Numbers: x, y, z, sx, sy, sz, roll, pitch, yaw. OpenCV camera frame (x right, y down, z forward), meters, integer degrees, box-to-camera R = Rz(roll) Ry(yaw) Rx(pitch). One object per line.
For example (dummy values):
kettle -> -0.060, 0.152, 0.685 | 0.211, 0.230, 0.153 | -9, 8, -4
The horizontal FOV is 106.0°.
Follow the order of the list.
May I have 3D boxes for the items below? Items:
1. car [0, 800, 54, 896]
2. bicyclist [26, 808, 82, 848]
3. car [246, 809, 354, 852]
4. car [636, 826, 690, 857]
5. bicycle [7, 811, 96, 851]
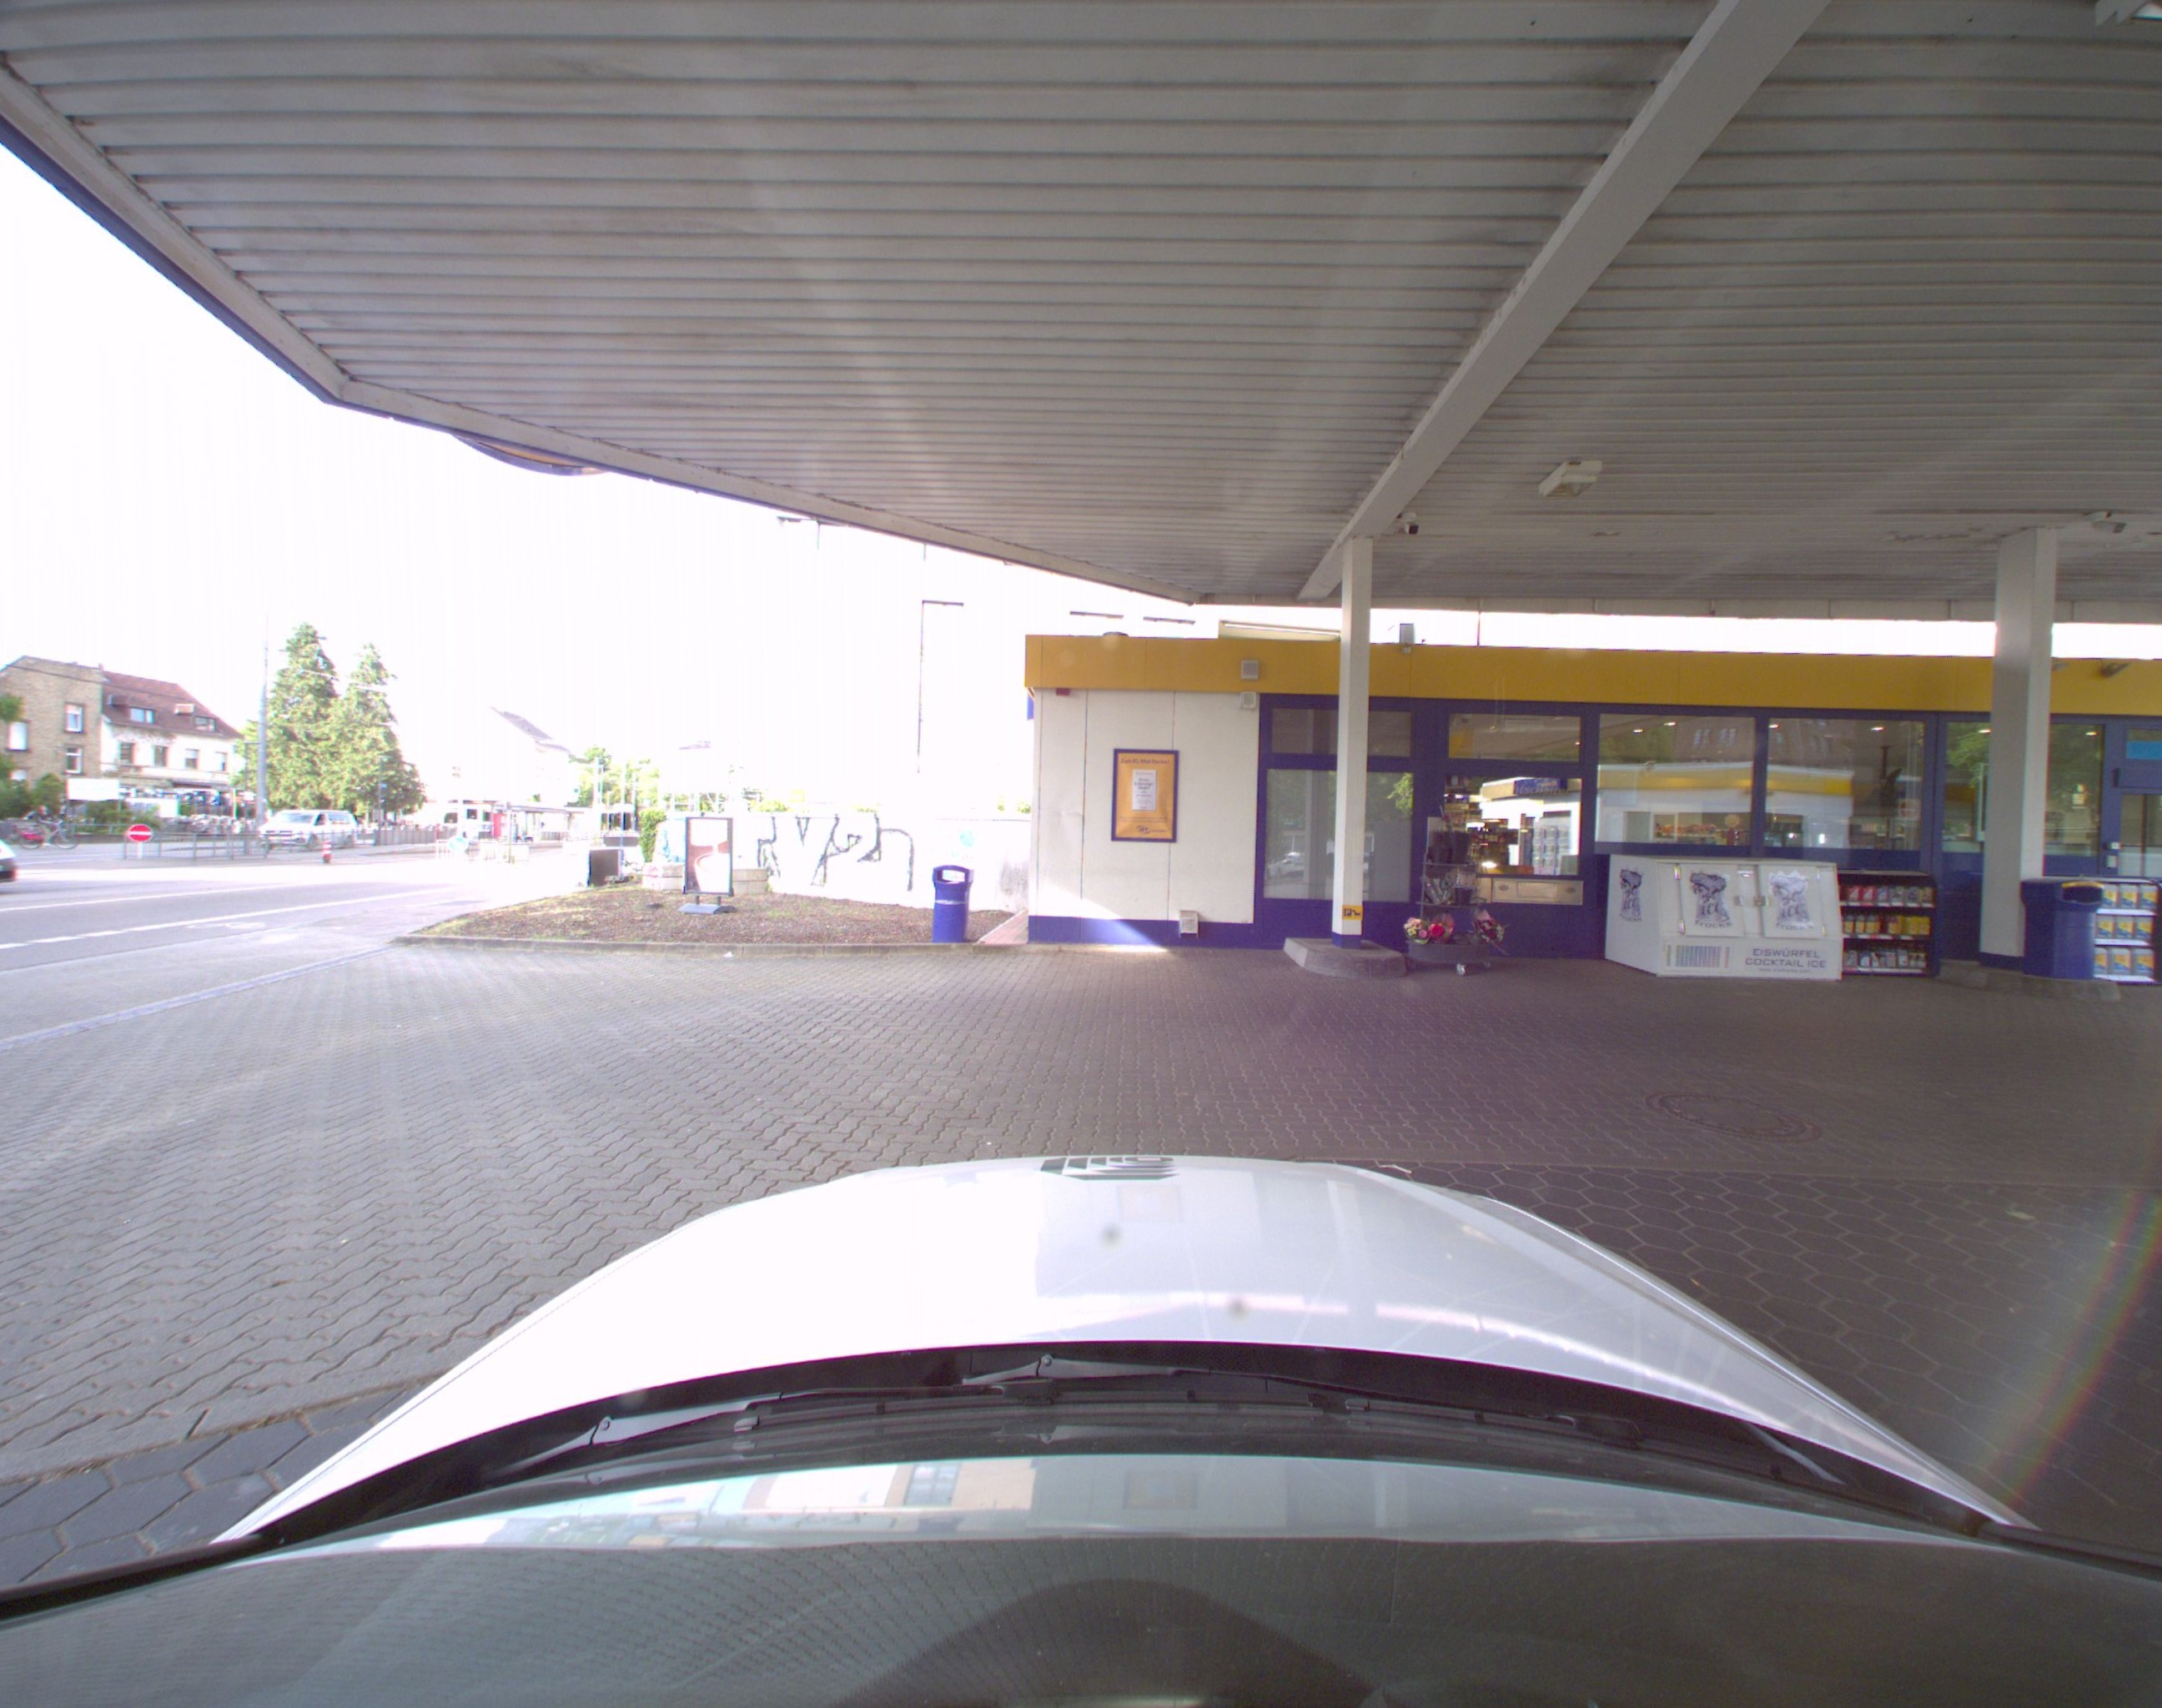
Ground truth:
car -> -23.578, -0.169, 15.730 | 4.396, 1.889, 1.962 | 1, 0, -10
bicyclist -> -41.220, -1.031, 32.705 | 0.781, 1.492, 1.099 | 4, 0, 11
car -> -39.143, -1.188, 40.975 | 1.999, 1.968, 4.860 | 1, 2, -18
car -> -24.463, -0.746, 47.859 | 1.767, 1.657, 4.827 | 2, 0, -15
bicycle -> -41.237, -0.897, 32.655 | 0.781, 1.492, 1.998 | 4, 0, 12
